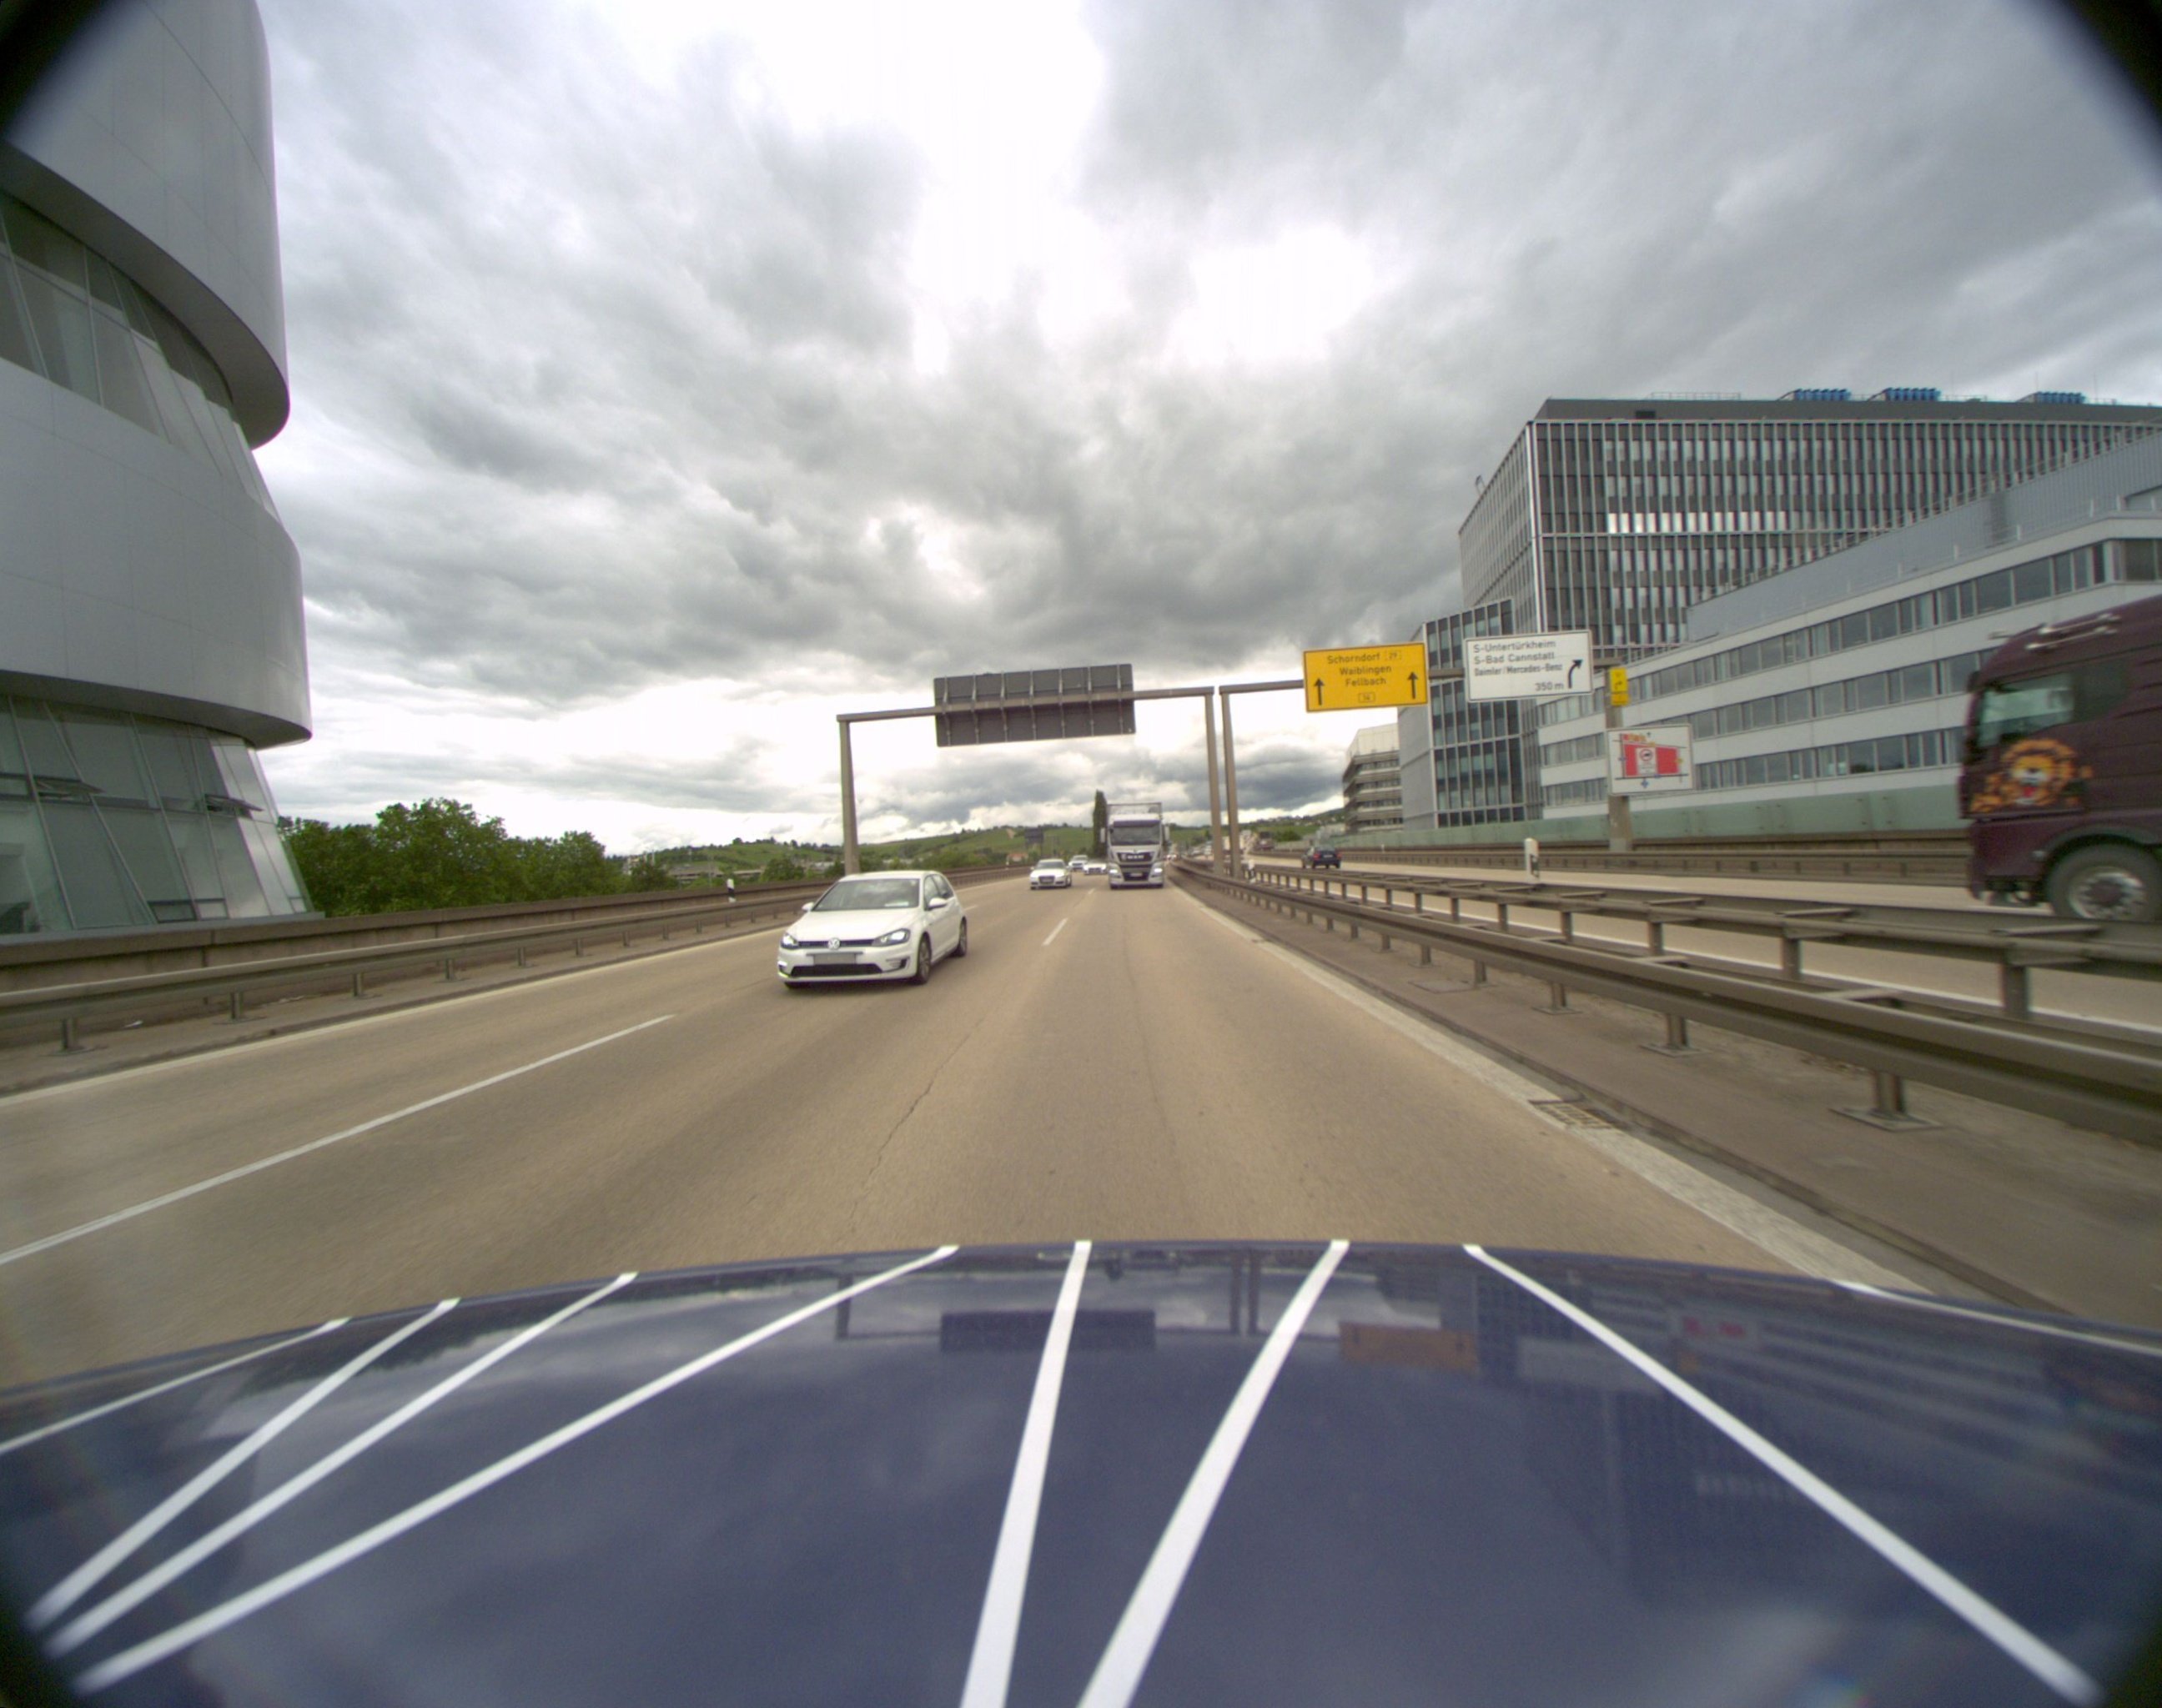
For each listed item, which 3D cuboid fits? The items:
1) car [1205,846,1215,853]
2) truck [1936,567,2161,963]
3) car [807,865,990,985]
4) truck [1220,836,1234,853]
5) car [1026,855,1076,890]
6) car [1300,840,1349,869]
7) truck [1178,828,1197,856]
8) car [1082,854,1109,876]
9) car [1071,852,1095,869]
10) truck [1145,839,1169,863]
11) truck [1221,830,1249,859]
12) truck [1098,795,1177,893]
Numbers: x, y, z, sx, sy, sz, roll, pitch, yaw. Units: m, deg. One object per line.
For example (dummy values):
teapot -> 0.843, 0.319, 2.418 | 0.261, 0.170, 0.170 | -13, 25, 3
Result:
car -> 32.516, -1.185, 191.679 | 1.998, 1.597, 4.808 | -2, 1, 5
truck -> 11.643, -0.843, 3.211 | 2.817, 3.787, 12.019 | -2, 1, 2
car -> -2.796, 1.029, 12.665 | 1.930, 1.499, 4.061 | -2, 1, 1
truck -> 36.696, -2.382, 190.990 | 3.062, 4.042, 8.670 | -2, 1, 12
car -> -1.424, 0.872, 38.133 | 1.930, 1.499, 4.062 | -3, 1, 5
car -> 14.879, 0.002, 46.706 | 1.997, 1.665, 4.409 | -2, 1, 6
truck -> 18.554, -2.042, 132.829 | 3.063, 4.536, 12.076 | -2, 1, 7
car -> 1.207, 0.891, 61.584 | 1.930, 1.585, 4.061 | -3, 1, 3
car -> 0.257, 0.643, 77.852 | 1.929, 1.585, 4.063 | -3, 1, 7
truck -> 10.778, -0.457, 107.288 | 3.063, 3.168, 8.307 | -2, 1, 7
truck -> 21.520, -1.323, 106.512 | 3.063, 3.754, 12.525 | -2, 1, 9
truck -> 2.653, -0.472, 35.502 | 3.141, 4.014, 5.689 | -4, 1, 4
